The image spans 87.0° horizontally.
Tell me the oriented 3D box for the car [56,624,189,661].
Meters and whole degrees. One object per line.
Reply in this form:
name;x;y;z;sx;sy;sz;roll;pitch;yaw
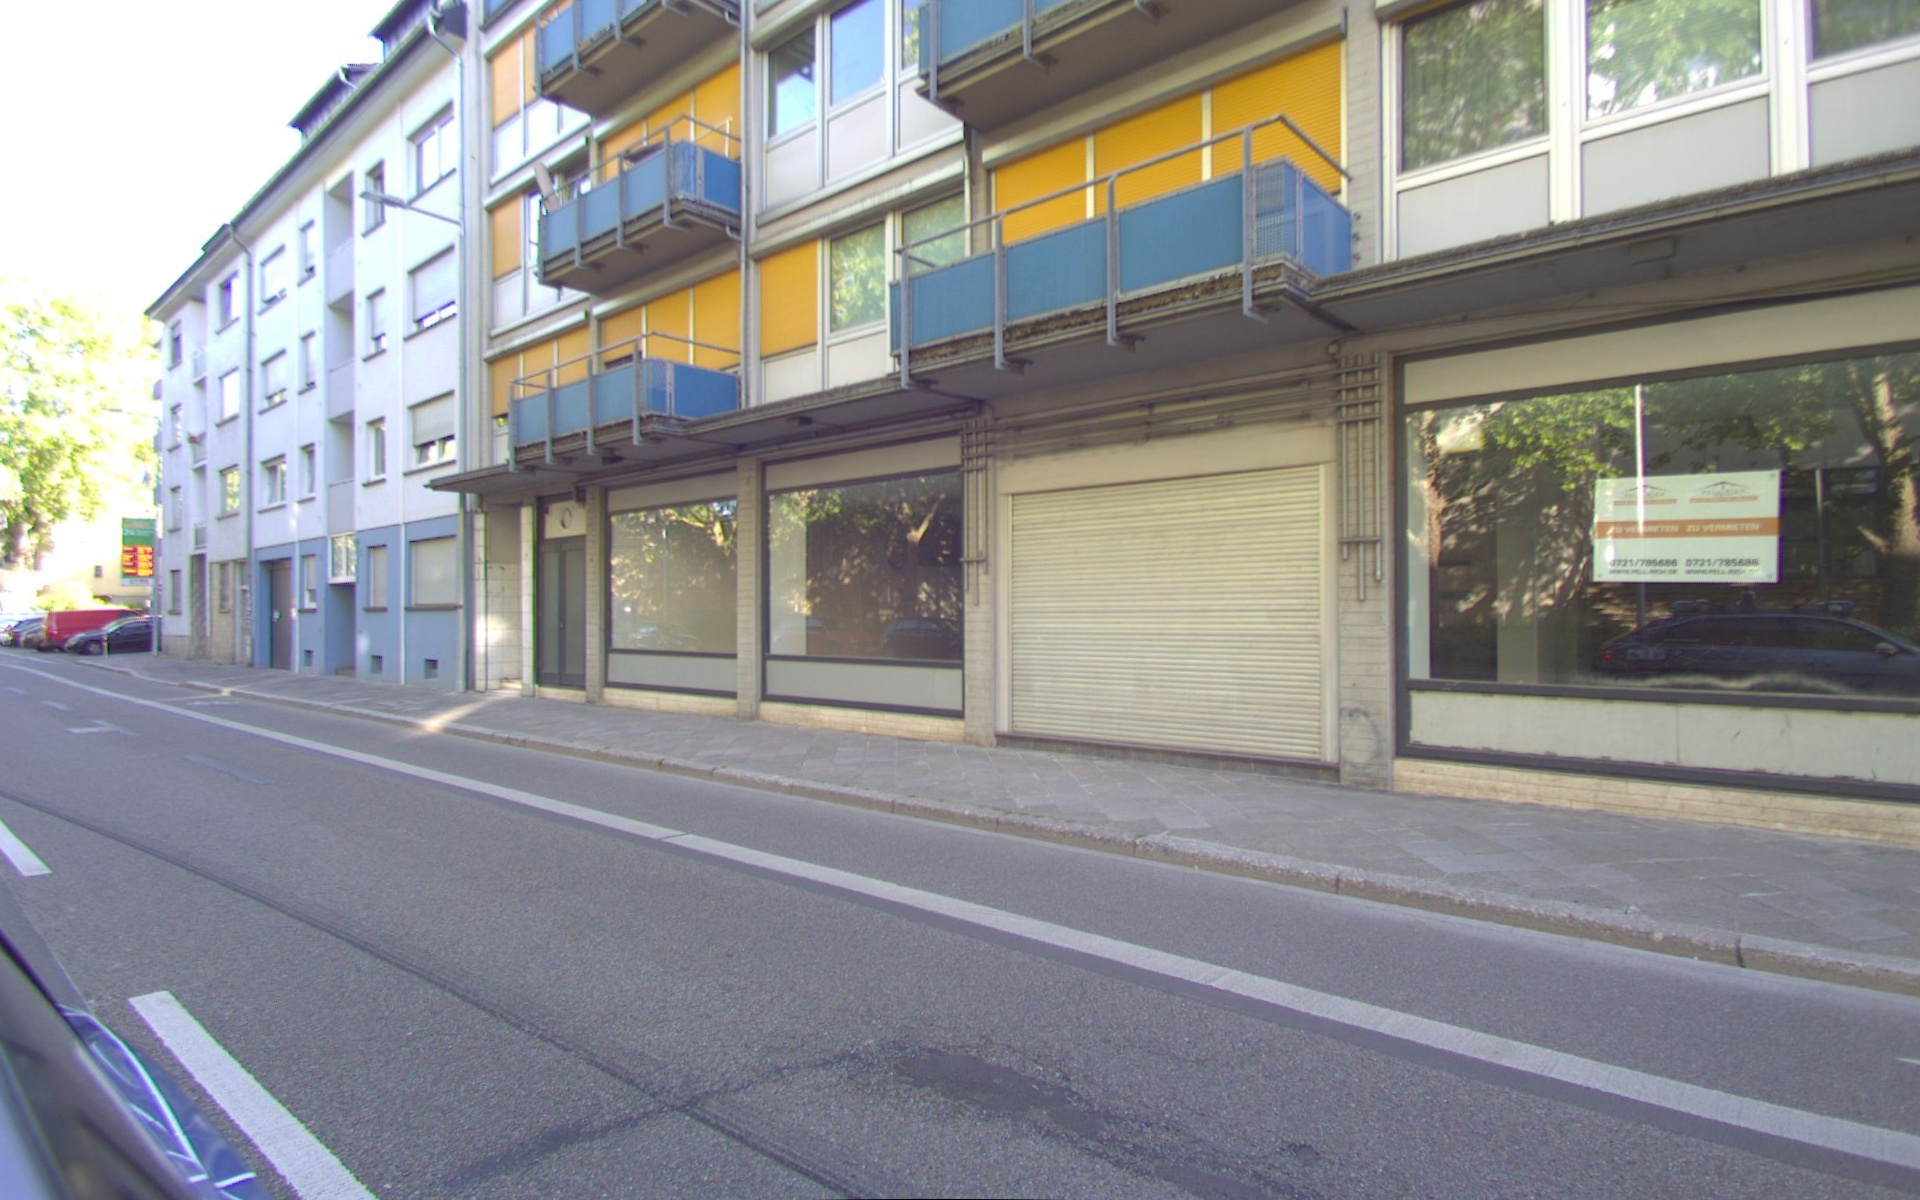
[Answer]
car;-36.486;1.796;44.166;1.657;1.417;4.269;-1;0;40

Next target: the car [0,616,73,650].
car;-59.333;2.098;64.409;2.000;2.052;4.180;-1;0;43

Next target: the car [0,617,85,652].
car;-56.049;2.069;61.480;2.000;1.971;4.180;-1;0;43

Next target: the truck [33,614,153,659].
truck;-40.714;1.651;47.582;1.999;1.939;4.040;-1;0;40

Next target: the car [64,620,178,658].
car;-38.036;1.733;45.949;1.657;1.583;3.762;-1;0;41
